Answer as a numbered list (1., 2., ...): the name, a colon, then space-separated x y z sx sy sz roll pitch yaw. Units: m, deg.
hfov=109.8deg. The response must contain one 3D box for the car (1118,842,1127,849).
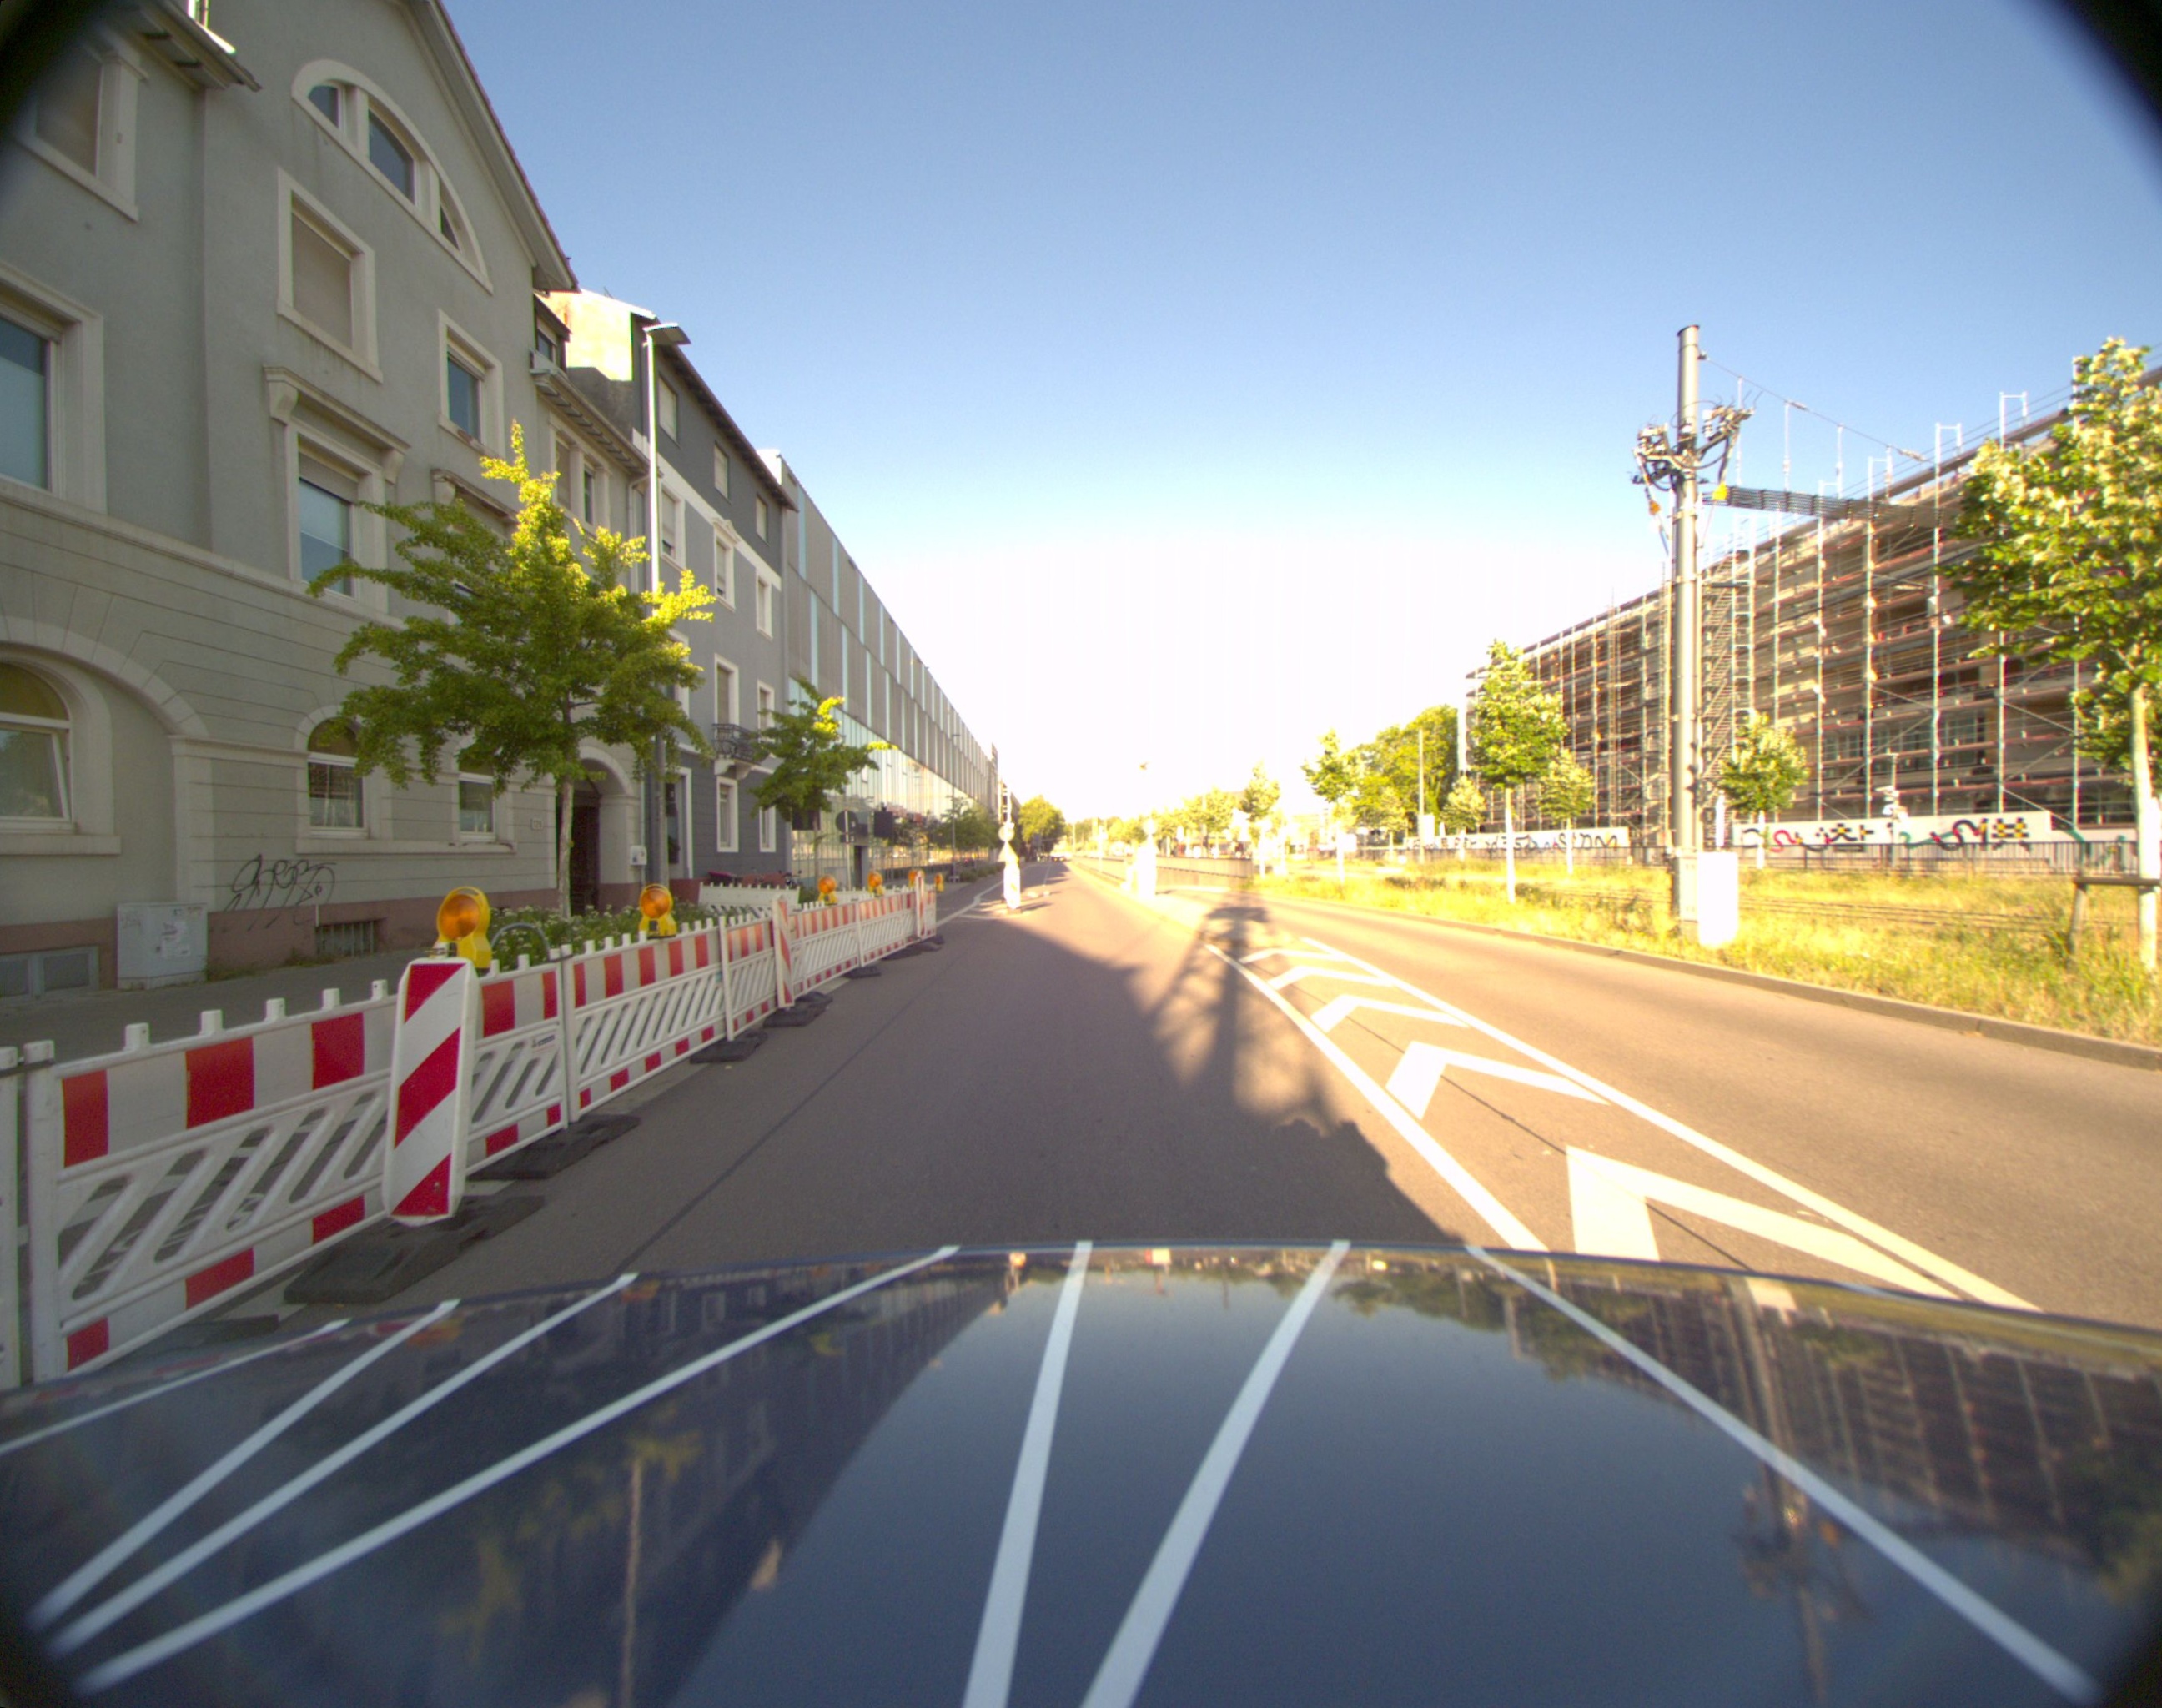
1. car: 10.811 -2.196 198.932 1.998 1.740 3.999 -2 1 1

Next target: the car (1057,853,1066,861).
1. car: -4.814 0.776 187.280 1.941 2.002 3.825 -1 0 -3

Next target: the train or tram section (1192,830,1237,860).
1. train or tram section: 16.353 -1.094 94.294 2.954 3.378 12.630 -2 1 -2

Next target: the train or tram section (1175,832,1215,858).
1. train or tram section: 15.971 -1.242 107.969 2.954 3.378 14.761 -2 1 -2

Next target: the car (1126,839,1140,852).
1. car: 8.522 -1.415 125.212 1.998 2.002 3.999 -2 1 1
